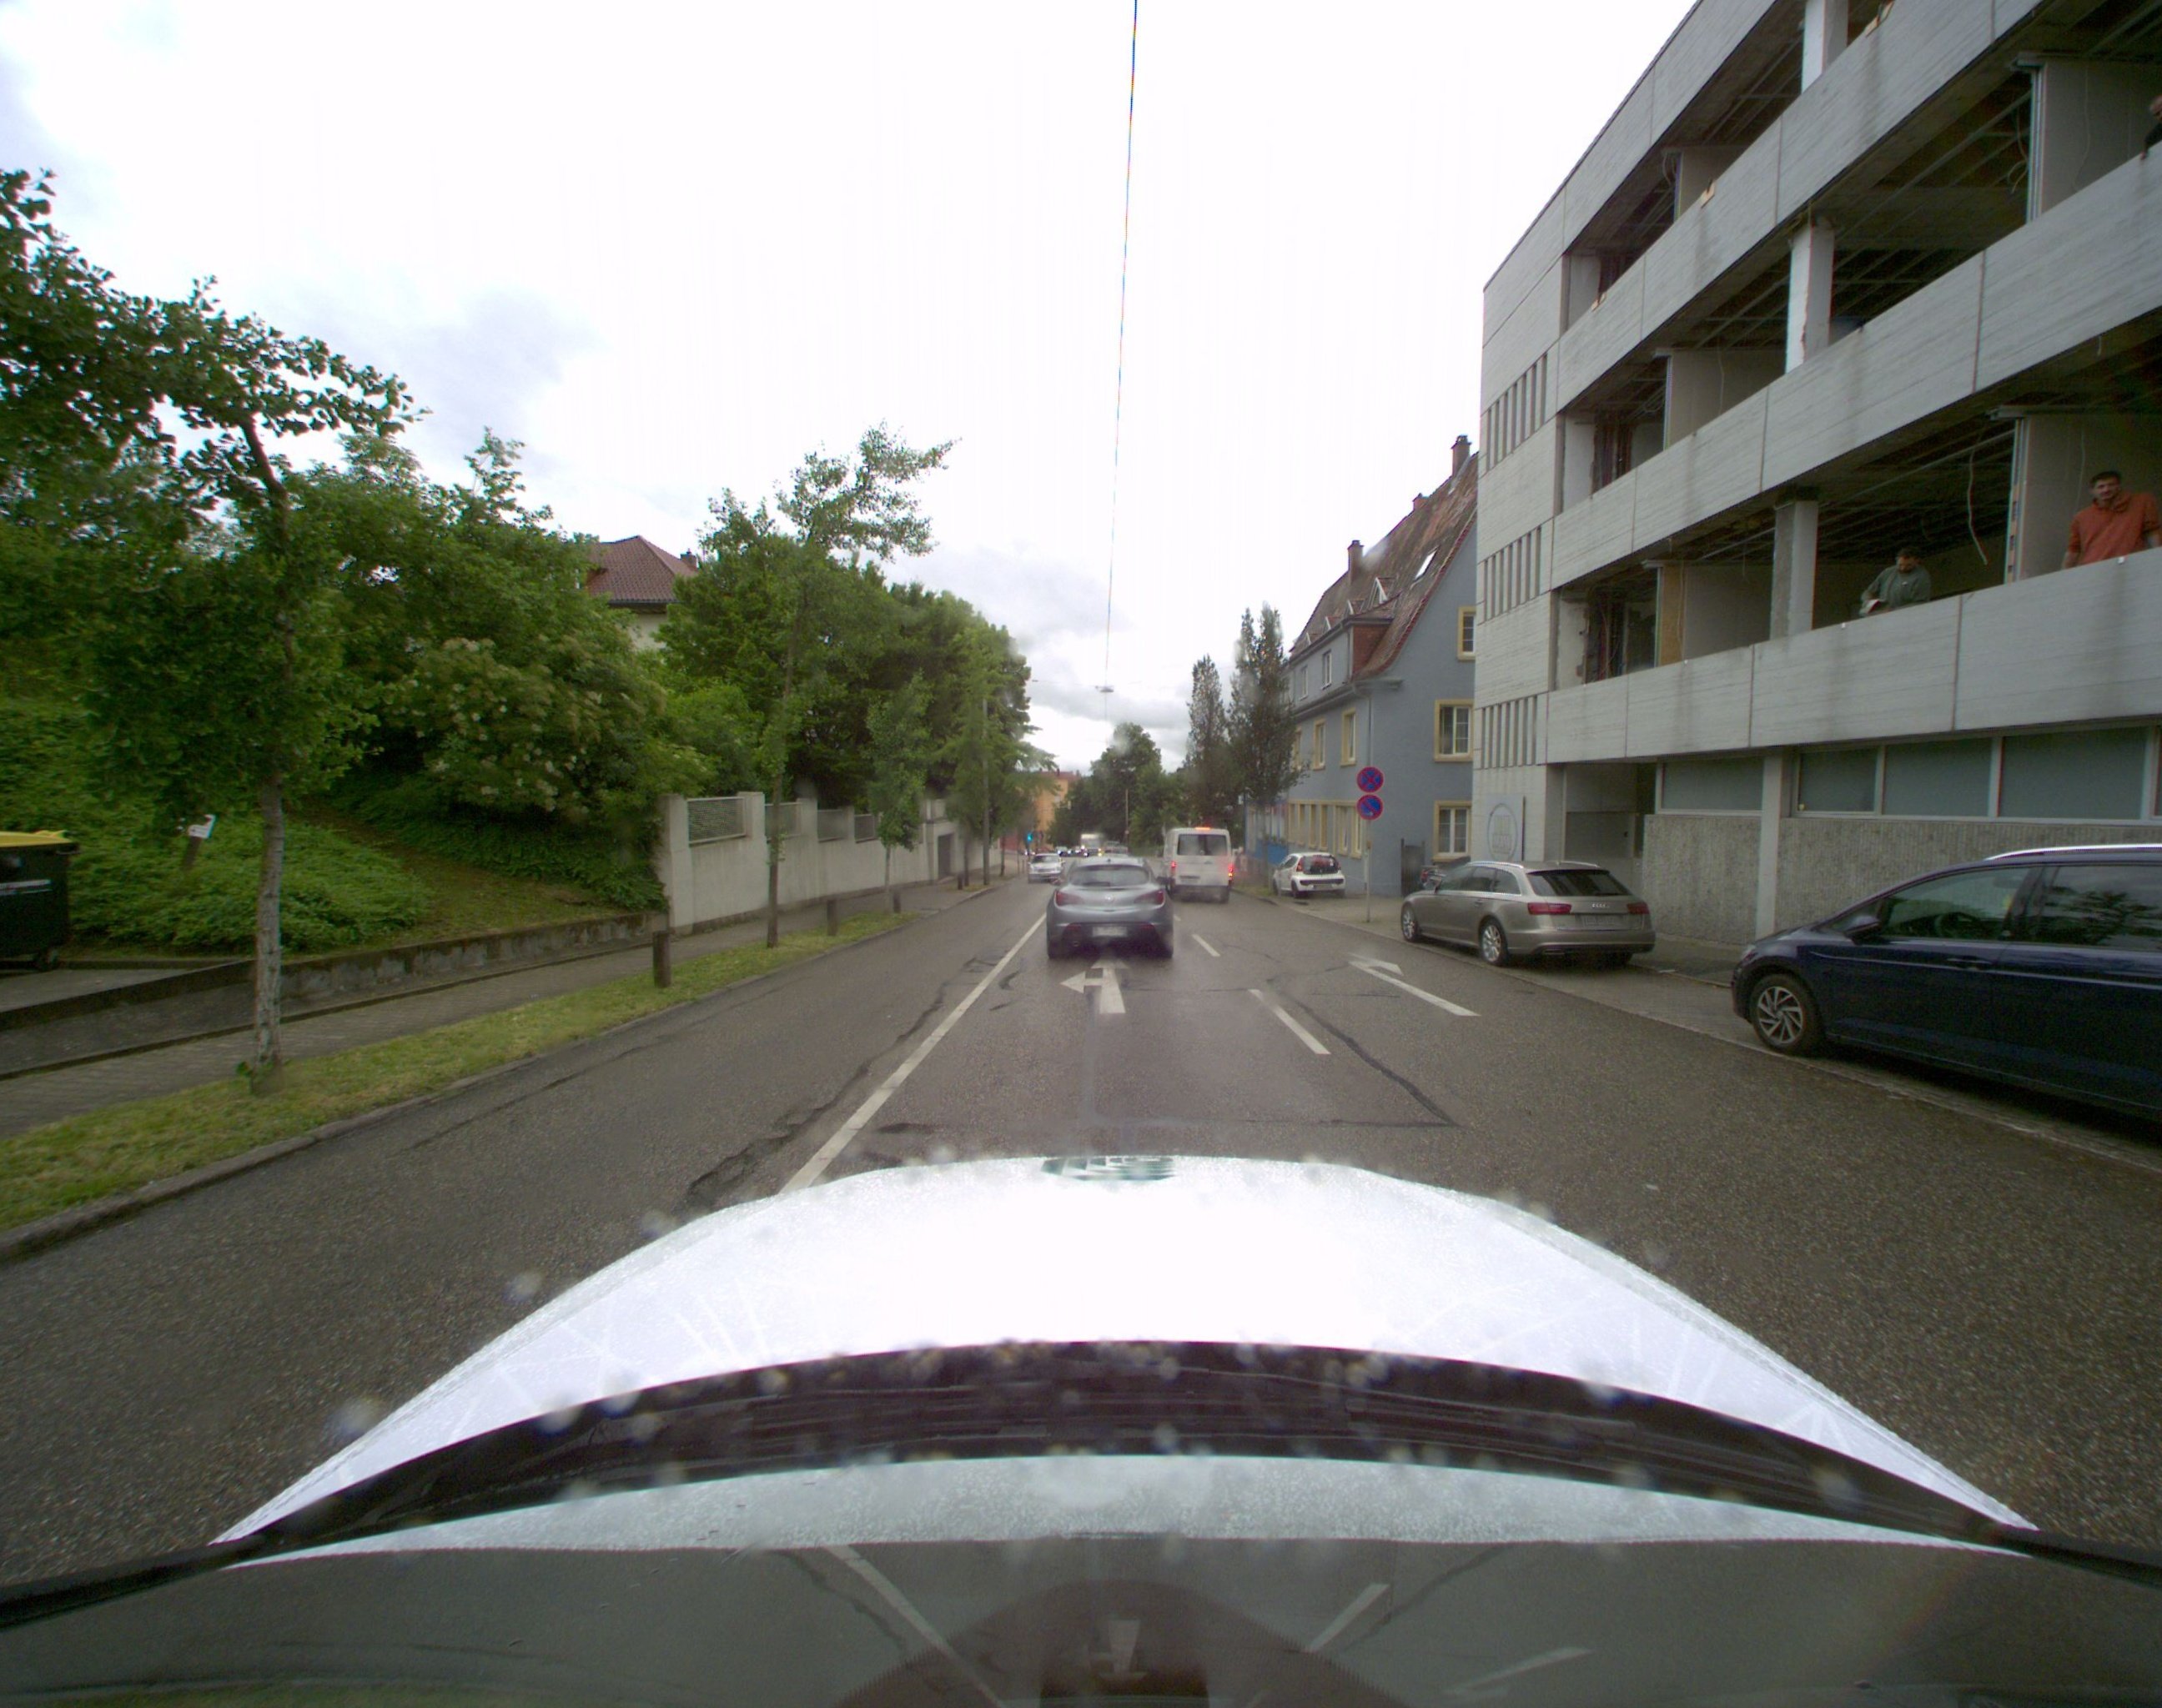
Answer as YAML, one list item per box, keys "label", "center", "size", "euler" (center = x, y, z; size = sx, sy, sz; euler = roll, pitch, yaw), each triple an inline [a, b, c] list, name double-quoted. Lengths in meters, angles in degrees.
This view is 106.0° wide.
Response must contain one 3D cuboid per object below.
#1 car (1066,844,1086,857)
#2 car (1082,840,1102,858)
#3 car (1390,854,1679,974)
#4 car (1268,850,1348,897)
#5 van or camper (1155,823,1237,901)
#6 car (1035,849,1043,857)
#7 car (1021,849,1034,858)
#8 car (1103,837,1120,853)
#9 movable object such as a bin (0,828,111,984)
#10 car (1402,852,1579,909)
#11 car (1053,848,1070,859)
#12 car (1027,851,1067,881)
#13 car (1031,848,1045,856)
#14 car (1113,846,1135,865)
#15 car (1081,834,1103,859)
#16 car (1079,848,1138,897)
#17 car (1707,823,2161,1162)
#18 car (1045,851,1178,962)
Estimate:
- label: "car"
  center: [-0.617, -0.406, 102.488]
  size: [1.874, 1.574, 4.572]
  euler: [0, 0, -9]
- label: "car"
  center: [1.056, -0.466, 78.572]
  size: [1.816, 1.652, 4.345]
  euler: [1, 1, -1]
- label: "car"
  center: [6.579, 0.747, 12.551]
  size: [1.809, 1.459, 4.740]
  euler: [0, 0, 0]
- label: "car"
  center: [7.487, 0.597, 27.130]
  size: [1.582, 1.411, 3.453]
  euler: [-1, 0, -2]
- label: "van or camper"
  center: [3.747, 0.231, 27.530]
  size: [2.096, 2.326, 5.419]
  euler: [2, 0, 2]
- label: "car"
  center: [-8.990, -0.234, 174.452]
  size: [1.772, 1.429, 3.782]
  euler: [1, 1, -3]
- label: "car"
  center: [-9.426, -0.125, 142.709]
  size: [1.774, 1.497, 4.248]
  euler: [1, -1, -10]
- label: "car"
  center: [3.569, -1.064, 97.150]
  size: [1.777, 1.855, 3.997]
  euler: [0, -1, -2]
- label: "movable object such as a bin"
  center: [-10.060, 0.452, 7.277]
  size: [1.261, 1.315, 1.160]
  euler: [0, 4, -7]
- label: "car"
  center: [11.220, 0.673, 22.353]
  size: [4.366, 1.407, 1.798]
  euler: [0, 0, -18]
- label: "car"
  center: [-2.878, -0.124, 117.784]
  size: [1.875, 1.574, 4.571]
  euler: [0, 0, -9]
- label: "car"
  center: [-1.692, 0.580, 41.430]
  size: [1.713, 1.384, 4.287]
  euler: [-1, 0, 2]
- label: "car"
  center: [-8.618, -0.413, 164.308]
  size: [1.820, 1.467, 3.976]
  euler: [-5, 1, -17]
- label: "car"
  center: [3.395, 0.141, 65.093]
  size: [1.615, 1.486, 3.435]
  euler: [0, -1, 0]
- label: "car"
  center: [1.146, -0.800, 88.088]
  size: [2.111, 2.545, 5.536]
  euler: [0, 0, -1]
- label: "car"
  center: [0.892, 0.556, 26.710]
  size: [1.769, 1.429, 3.787]
  euler: [-2, 0, 2]
- label: "car"
  center: [6.232, 0.677, 4.865]
  size: [1.738, 1.674, 4.346]
  euler: [0, 0, 1]
- label: "car"
  center: [0.479, 0.712, 13.141]
  size: [1.808, 1.429, 4.002]
  euler: [0, 1, 2]
